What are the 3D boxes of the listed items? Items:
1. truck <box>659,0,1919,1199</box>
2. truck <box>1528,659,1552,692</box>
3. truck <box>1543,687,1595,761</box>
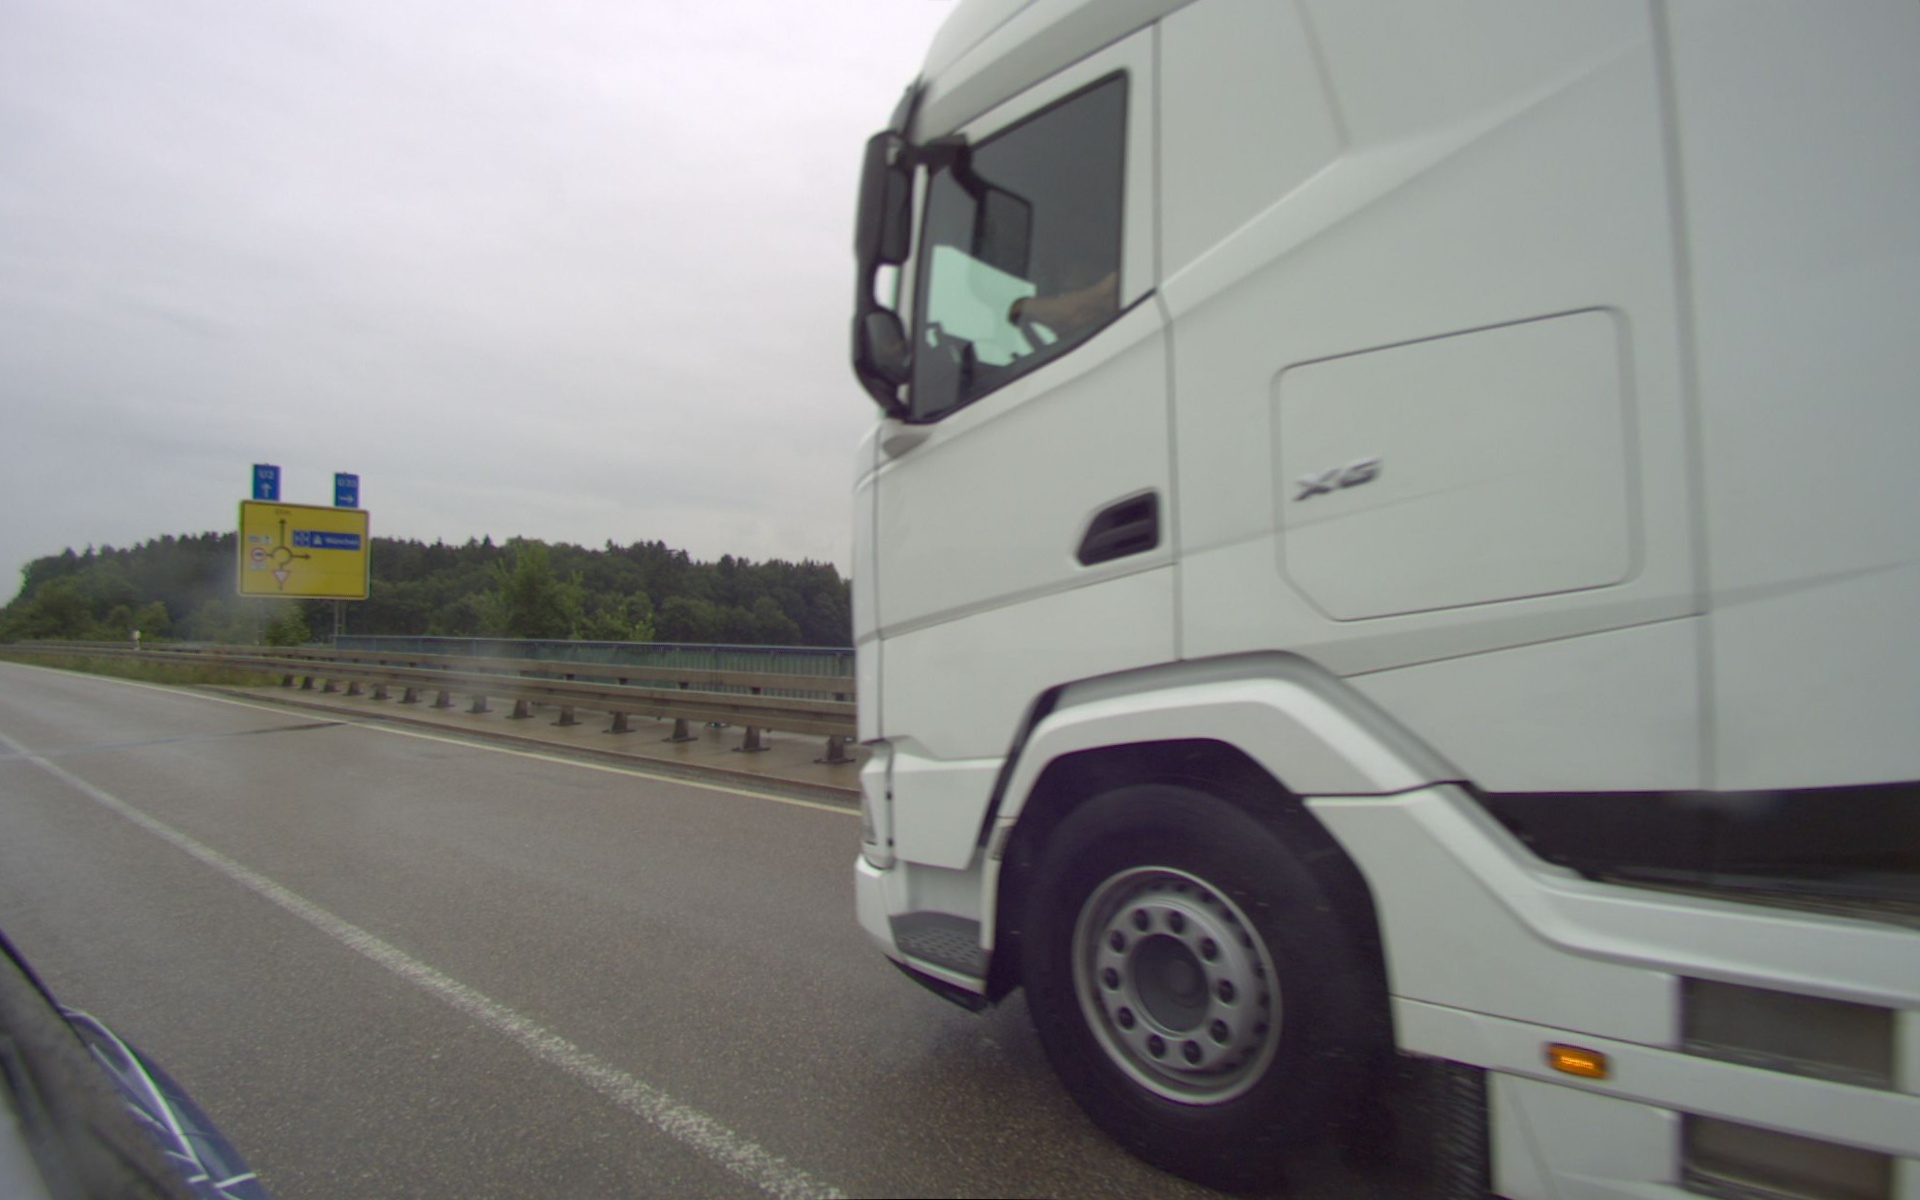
[{"bbox_3d":[3.050,-0.666,2.099,8.758,4.000,2.789,-1,-1,41],"label":"truck"},{"bbox_3d":[81.576,10.475,142.283,2.234,3.727,9.740,-2,0,34],"label":"truck"},{"bbox_3d":[41.671,8.293,69.473,2.775,3.899,10.536,0,-1,29],"label":"truck"}]
